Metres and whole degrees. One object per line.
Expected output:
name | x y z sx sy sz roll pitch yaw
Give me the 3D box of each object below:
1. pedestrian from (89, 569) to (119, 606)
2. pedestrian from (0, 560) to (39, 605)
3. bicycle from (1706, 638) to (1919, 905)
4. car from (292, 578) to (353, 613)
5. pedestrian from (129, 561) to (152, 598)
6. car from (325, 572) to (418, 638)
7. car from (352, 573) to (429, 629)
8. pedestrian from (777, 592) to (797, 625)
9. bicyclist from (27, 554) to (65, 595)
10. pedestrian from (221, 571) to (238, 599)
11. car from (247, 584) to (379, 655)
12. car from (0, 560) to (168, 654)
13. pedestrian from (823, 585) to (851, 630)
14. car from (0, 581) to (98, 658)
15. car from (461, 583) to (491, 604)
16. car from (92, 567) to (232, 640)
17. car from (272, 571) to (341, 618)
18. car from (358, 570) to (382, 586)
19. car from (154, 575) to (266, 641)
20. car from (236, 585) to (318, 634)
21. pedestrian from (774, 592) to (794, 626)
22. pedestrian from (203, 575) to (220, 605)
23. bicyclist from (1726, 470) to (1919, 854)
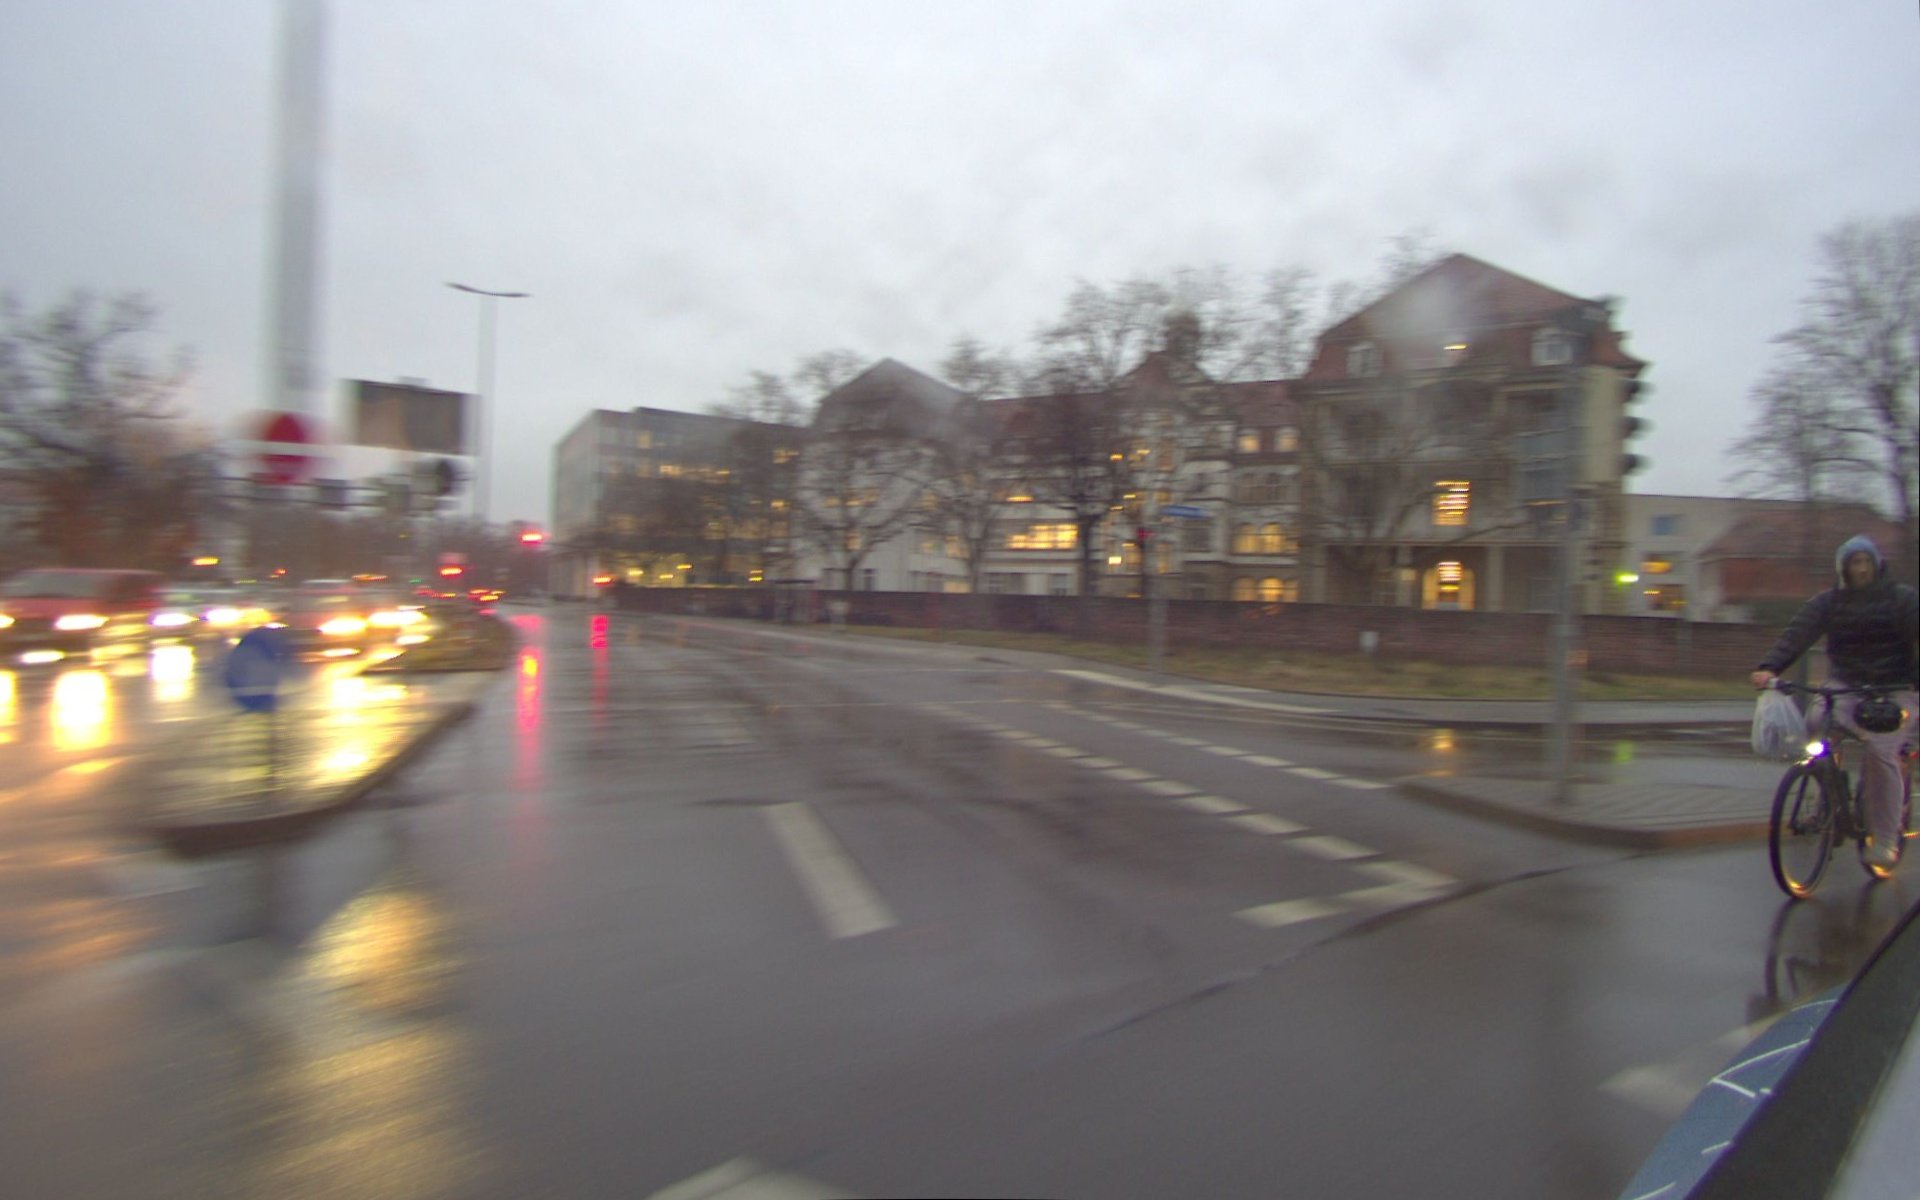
pedestrian | -44.071 -0.651 52.086 0.914 1.848 0.835 3 -1 -25
pedestrian | -39.857 -0.743 42.895 0.914 1.848 0.835 3 -1 -25
bicycle | 5.146 0.857 5.681 1.865 1.238 0.796 0 0 -27
car | -32.561 -0.277 51.838 1.958 1.587 4.771 4 0 -25
pedestrian | -46.159 -1.173 57.003 0.750 2.039 0.912 2 0 -26
car | -17.724 0.114 30.670 1.958 1.772 4.479 3 0 -25
car | -20.275 -0.010 36.191 1.958 1.772 4.479 4 -1 -25
pedestrian | -9.960 0.485 58.357 0.792 1.853 0.949 3 0 -29
bicyclist | -34.856 -0.960 38.608 0.751 1.508 0.996 2 0 -24
pedestrian | -47.292 -0.964 65.531 0.611 1.823 0.939 2 -1 -23
car | -14.637 0.395 23.141 1.892 1.393 4.507 3 0 -25
car | -19.202 0.094 22.009 1.958 1.772 4.955 3 0 -25
pedestrian | -5.165 0.317 42.486 0.792 1.853 0.949 3 0 -29
car | -24.790 0.463 26.680 1.958 1.861 4.008 2 0 -23
car | -40.261 -0.553 84.273 1.958 1.587 4.478 4 -2 -24
car | -21.745 0.049 27.785 1.958 1.772 4.479 3 0 -25
car | -29.397 -0.261 45.632 1.958 1.948 4.275 2 0 -25
car | -71.259 -2.672 122.238 2.098 1.839 4.007 3 0 -25
car | -23.828 0.241 32.313 1.958 1.928 4.007 2 0 -24
car | -26.827 0.334 39.872 1.958 1.794 4.007 2 0 -24
pedestrian | -9.895 0.486 56.903 0.792 1.853 0.949 3 0 -29
pedestrian | -52.812 -0.716 71.438 0.750 2.039 0.774 2 0 -26
bicyclist | 5.173 0.309 5.614 1.210 1.907 1.029 1 0 -25
